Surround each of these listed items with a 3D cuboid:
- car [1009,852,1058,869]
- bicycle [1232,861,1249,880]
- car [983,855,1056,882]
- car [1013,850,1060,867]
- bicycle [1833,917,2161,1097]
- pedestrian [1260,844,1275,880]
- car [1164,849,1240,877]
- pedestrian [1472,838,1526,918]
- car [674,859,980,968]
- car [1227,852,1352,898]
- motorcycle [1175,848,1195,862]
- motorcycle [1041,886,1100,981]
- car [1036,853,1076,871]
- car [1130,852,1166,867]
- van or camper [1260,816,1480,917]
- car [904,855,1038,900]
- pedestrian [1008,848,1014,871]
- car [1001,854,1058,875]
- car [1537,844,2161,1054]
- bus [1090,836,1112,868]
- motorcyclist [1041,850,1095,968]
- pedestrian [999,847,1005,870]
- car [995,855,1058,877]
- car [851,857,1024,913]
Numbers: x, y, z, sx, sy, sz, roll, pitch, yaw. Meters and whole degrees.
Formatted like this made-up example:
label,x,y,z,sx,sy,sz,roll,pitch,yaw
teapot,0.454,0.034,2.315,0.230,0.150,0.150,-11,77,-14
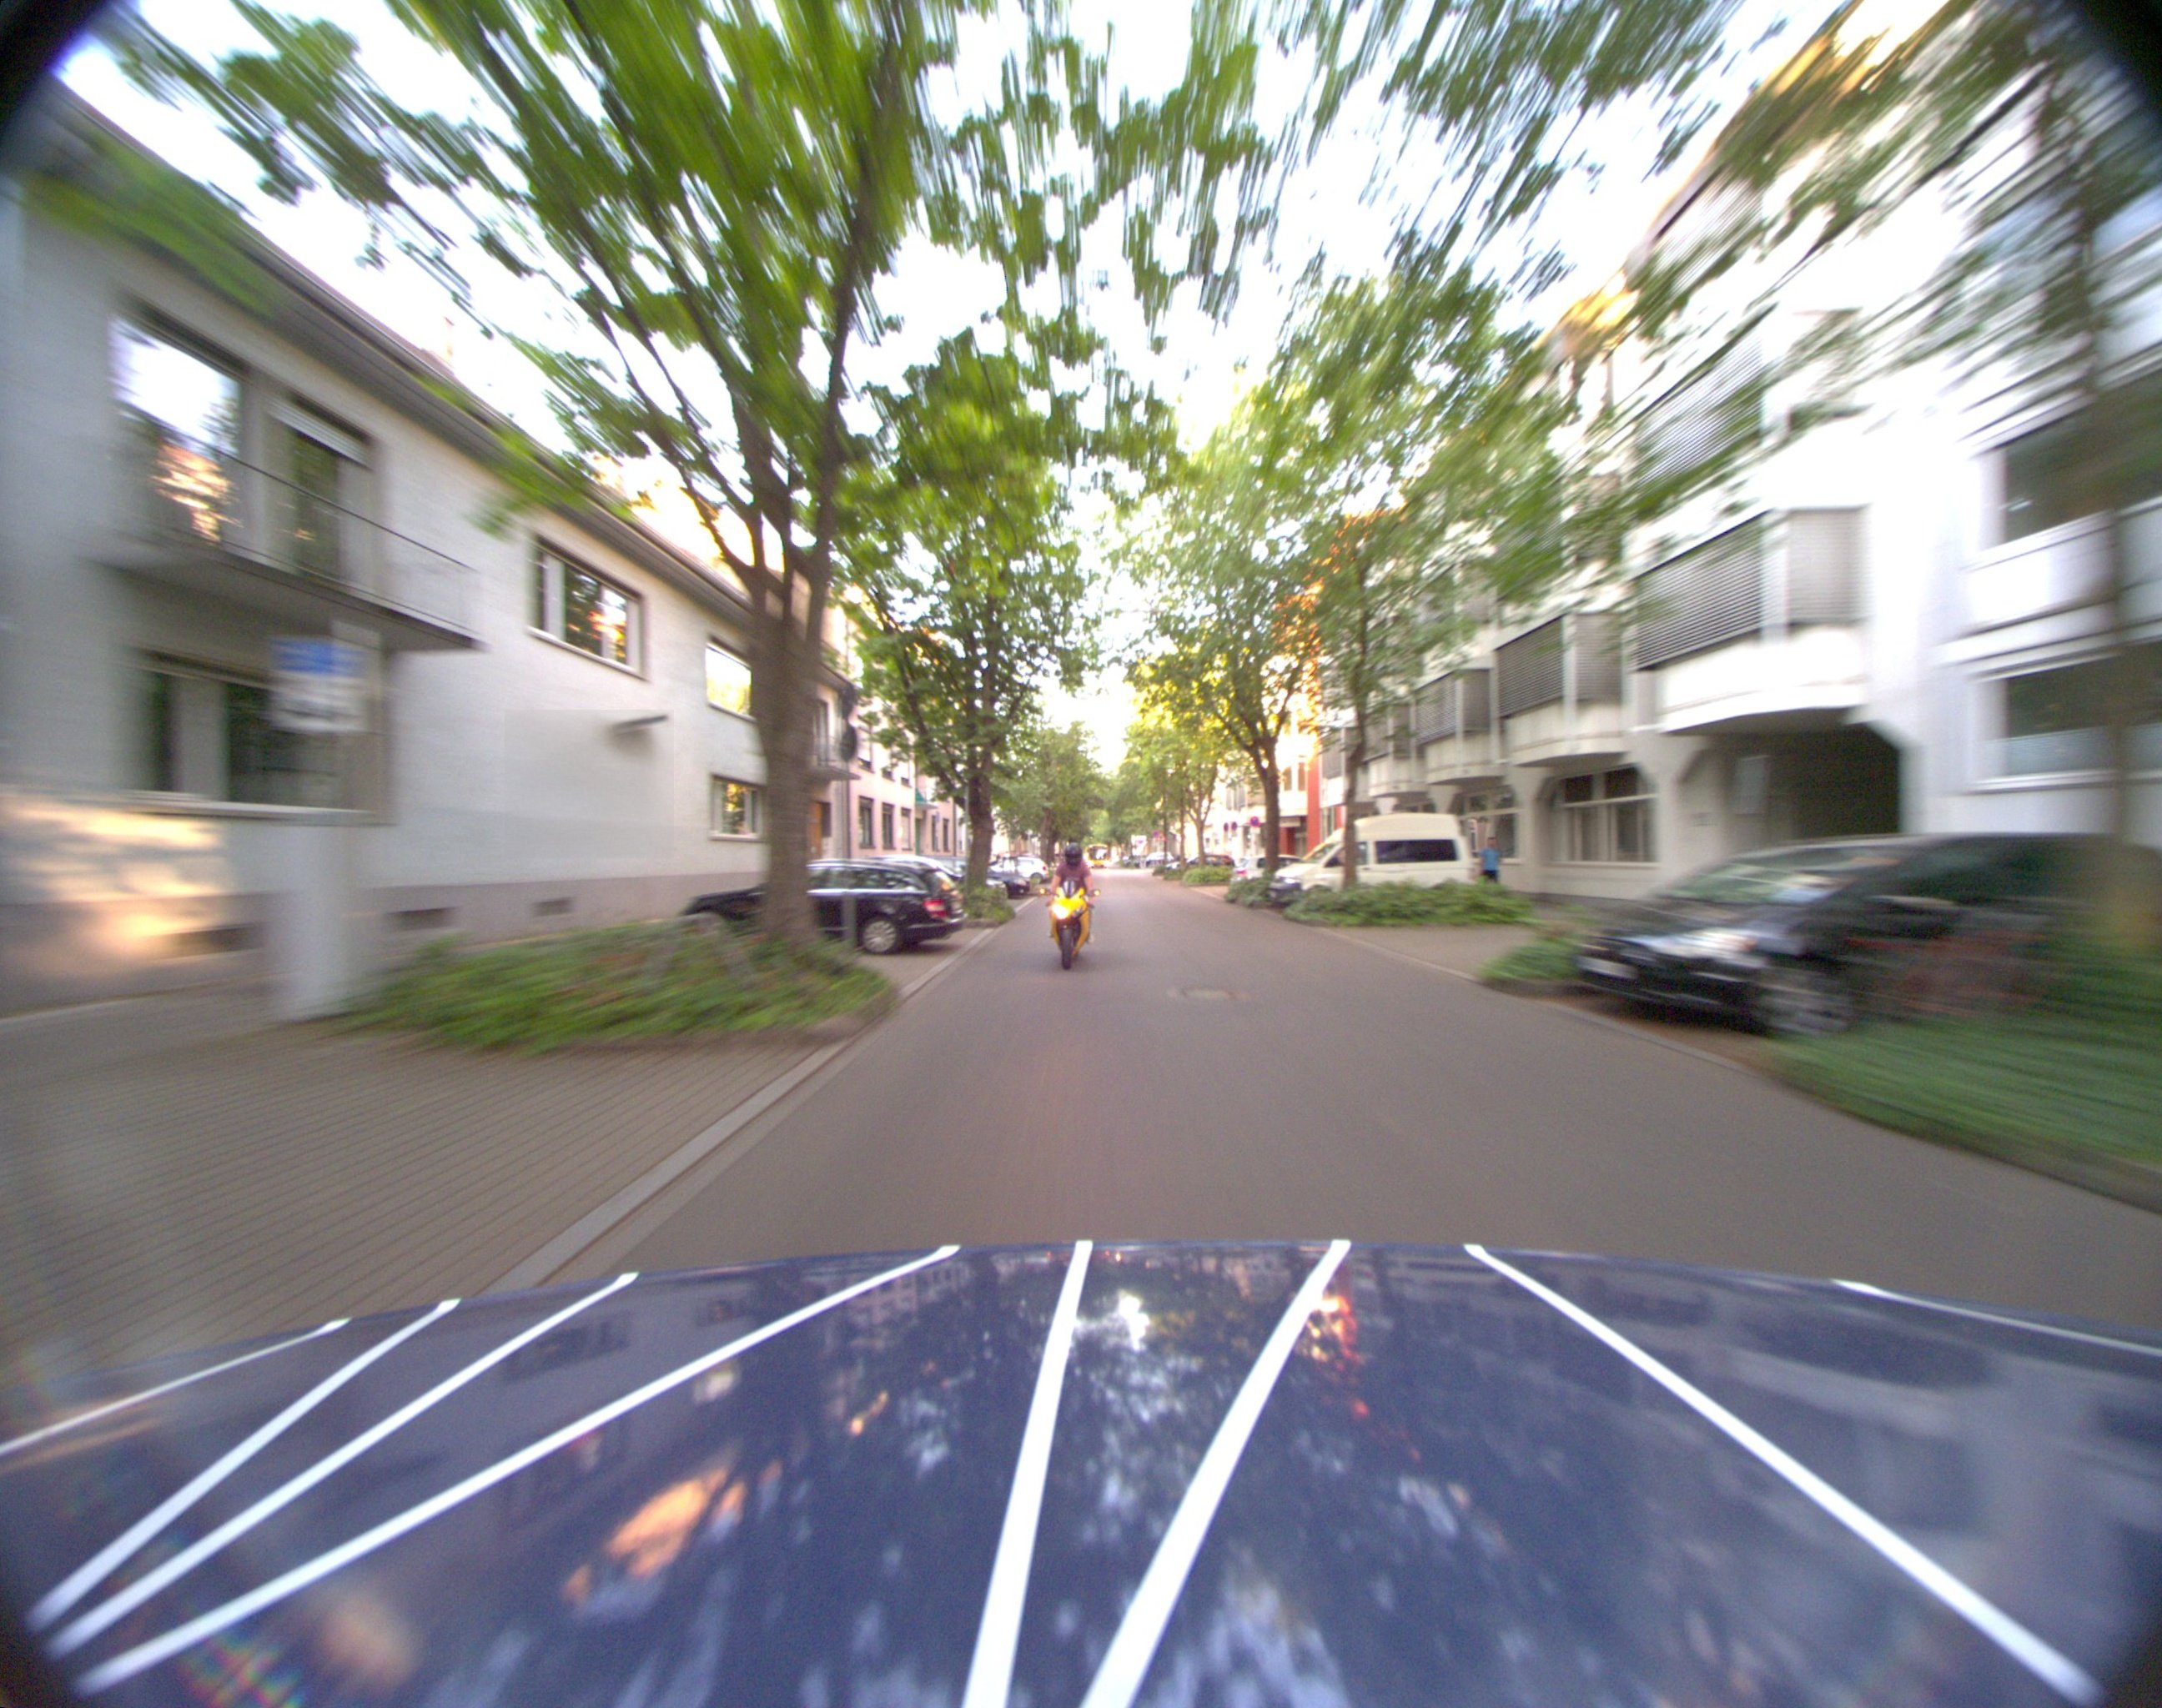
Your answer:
label,x,y,z,sx,sy,sz,roll,pitch,yaw
car,-3.933,0.542,63.305,3.858,1.390,1.675,1,0,1
bicycle,8.343,0.853,39.653,0.454,0.981,1.758,0,0,25
car,-3.332,0.782,41.627,3.859,1.390,1.674,1,0,-3
car,-3.812,0.375,65.389,3.858,1.390,1.675,1,0,1
bicycle,5.870,0.924,4.730,1.906,1.019,0.479,0,1,-1
pedestrian,9.319,0.399,37.955,0.637,1.734,0.679,-1,1,10
car,7.613,0.570,48.101,4.475,1.748,1.791,0,0,-2
pedestrian,10.657,0.596,19.401,0.942,2.002,0.839,-1,1,5
car,-4.023,0.893,12.405,4.366,1.461,1.732,2,1,6
car,7.422,0.733,27.330,4.062,1.519,1.622,-1,0,4
motorcycle,8.777,0.104,64.030,1.626,1.136,0.572,-3,1,3
motorcycle,-0.165,1.069,10.838,0.736,1.115,2.107,-1,0,-2
car,-2.526,0.825,77.354,3.998,1.752,1.999,0,0,-2
car,7.303,0.612,83.231,3.858,1.623,1.675,1,0,1
van or camper,7.155,0.300,19.204,4.829,2.413,1.945,0,1,1
car,-3.958,0.835,27.776,4.594,1.461,1.696,1,0,2
pedestrian,-6.143,0.489,66.958,0.449,2.002,0.485,0,1,1
car,-3.657,0.742,54.336,3.858,1.390,1.675,1,0,1
car,6.929,0.759,6.991,4.548,1.673,1.621,0,0,-3
bus,2.592,-0.275,101.681,2.833,4.086,7.831,0,0,1
motorcyclist,-0.191,0.752,10.835,0.722,1.605,0.915,-1,1,-2
pedestrian,-6.926,0.429,66.824,0.449,2.002,0.485,0,1,1
car,-3.516,0.765,49.678,3.857,1.390,1.675,1,0,4
car,-3.961,0.841,21.473,4.456,1.515,1.952,0,0,2
